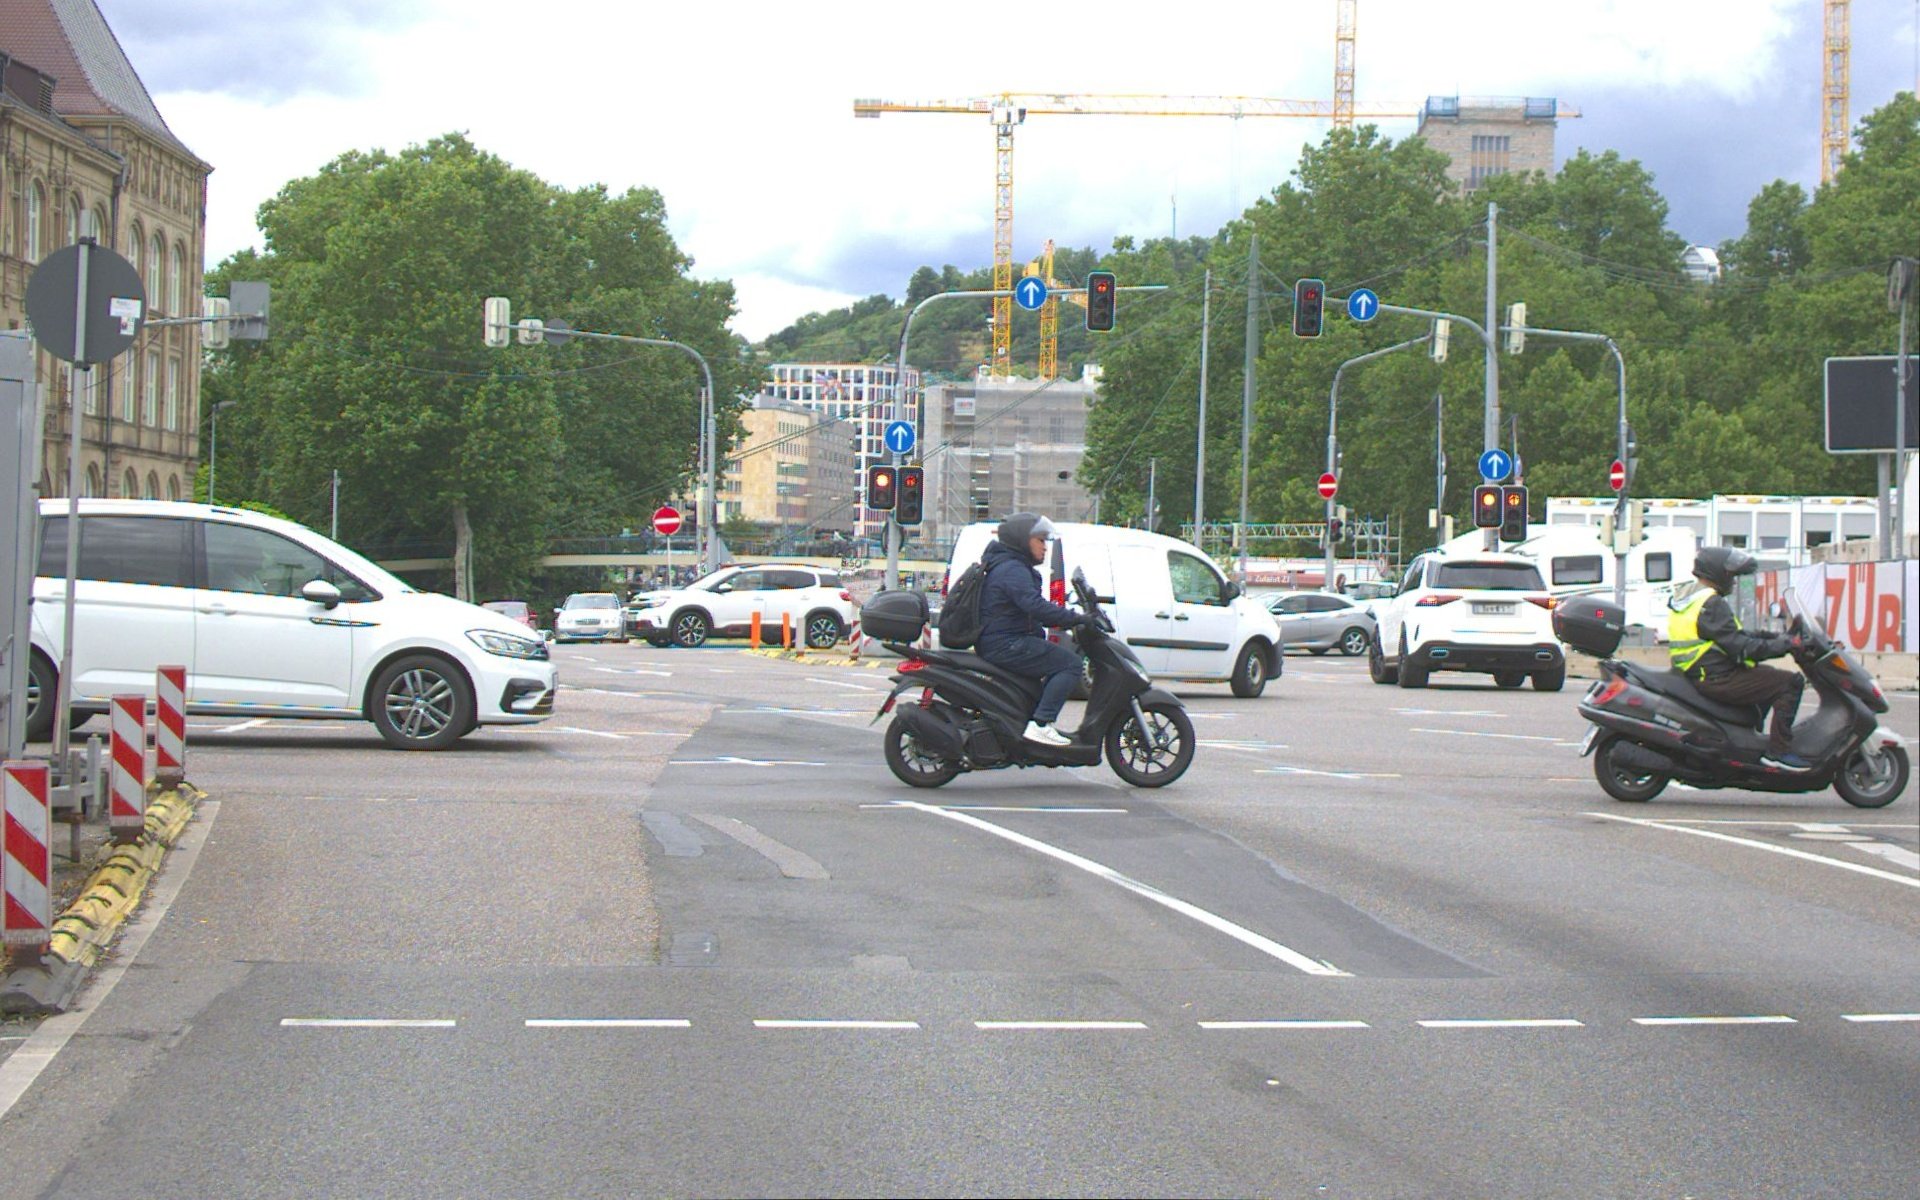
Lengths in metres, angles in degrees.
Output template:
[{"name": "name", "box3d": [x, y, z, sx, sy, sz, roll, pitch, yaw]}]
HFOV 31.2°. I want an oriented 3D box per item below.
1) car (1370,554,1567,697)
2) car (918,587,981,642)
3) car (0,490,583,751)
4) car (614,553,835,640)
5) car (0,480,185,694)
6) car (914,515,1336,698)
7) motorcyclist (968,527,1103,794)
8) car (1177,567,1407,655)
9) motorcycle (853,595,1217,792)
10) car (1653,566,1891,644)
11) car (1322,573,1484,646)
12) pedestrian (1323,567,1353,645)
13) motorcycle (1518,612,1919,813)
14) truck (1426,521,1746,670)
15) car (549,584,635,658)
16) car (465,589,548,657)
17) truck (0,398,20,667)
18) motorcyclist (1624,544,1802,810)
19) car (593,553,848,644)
[{"name": "car", "box3d": [6.574, 0.296, 44.871, 1.993, 1.753, 4.505, 1, 1, 1]}, {"name": "car", "box3d": [-0.388, 0.503, 119.879, 1.993, 1.831, 4.000, 1, 1, -3]}, {"name": "car", "box3d": [-5.047, 0.122, 23.930, 4.670, 1.696, 2.000, 1, 0, -2]}, {"name": "car", "box3d": [-4.865, -0.074, 71.081, 4.146, 1.718, 1.909, 1, 1, -23]}, {"name": "car", "box3d": [-9.039, -0.137, 30.332, 4.242, 1.828, 2.001, 1, 0, -13]}, {"name": "car", "box3d": [1.823, 0.056, 36.601, 1.869, 1.827, 4.710, 1, 1, 43]}, {"name": "motorcyclist", "box3d": [0.454, 0.361, 20.924, 0.786, 1.591, 0.652, 1, 0, 0]}, {"name": "car", "box3d": [7.271, 0.242, 75.332, 4.564, 1.768, 2.001, 1, 2, -25]}, {"name": "motorcycle", "box3d": [0.450, 0.560, 20.928, 2.167, 1.151, 0.652, 1, 0, 0]}, {"name": "car", "box3d": [19.187, 0.120, 81.233, 5.168, 1.779, 2.165, 1, 1, -23]}, {"name": "car", "box3d": [11.498, 0.231, 89.184, 3.989, 1.831, 1.999, 1, 0, 12]}, {"name": "pedestrian", "box3d": [8.968, 0.138, 81.554, 0.585, 1.834, 0.604, 1, 0, -4]}, {"name": "motorcycle", "box3d": [4.655, 0.667, 20.774, 2.422, 1.151, 0.817, 1, 0, 0]}, {"name": "truck", "box3d": [13.617, -0.081, 74.732, 6.580, 3.135, 2.368, 1, 0, -23]}, {"name": "car", "box3d": [-9.543, 0.525, 89.465, 1.993, 1.831, 4.001, 1, 1, -3]}, {"name": "car", "box3d": [-12.795, 0.631, 97.209, 1.993, 1.831, 4.001, 1, 1, -3]}, {"name": "truck", "box3d": [-22.377, -1.300, 62.713, 9.712, 4.943, 3.114, 1, 0, -23]}, {"name": "motorcyclist", "box3d": [4.539, 0.454, 20.776, 0.878, 1.565, 0.817, 1, 0, 0]}, {"name": "car", "box3d": [-4.683, -0.033, 67.227, 4.583, 1.718, 1.909, 1, 1, -23]}]
